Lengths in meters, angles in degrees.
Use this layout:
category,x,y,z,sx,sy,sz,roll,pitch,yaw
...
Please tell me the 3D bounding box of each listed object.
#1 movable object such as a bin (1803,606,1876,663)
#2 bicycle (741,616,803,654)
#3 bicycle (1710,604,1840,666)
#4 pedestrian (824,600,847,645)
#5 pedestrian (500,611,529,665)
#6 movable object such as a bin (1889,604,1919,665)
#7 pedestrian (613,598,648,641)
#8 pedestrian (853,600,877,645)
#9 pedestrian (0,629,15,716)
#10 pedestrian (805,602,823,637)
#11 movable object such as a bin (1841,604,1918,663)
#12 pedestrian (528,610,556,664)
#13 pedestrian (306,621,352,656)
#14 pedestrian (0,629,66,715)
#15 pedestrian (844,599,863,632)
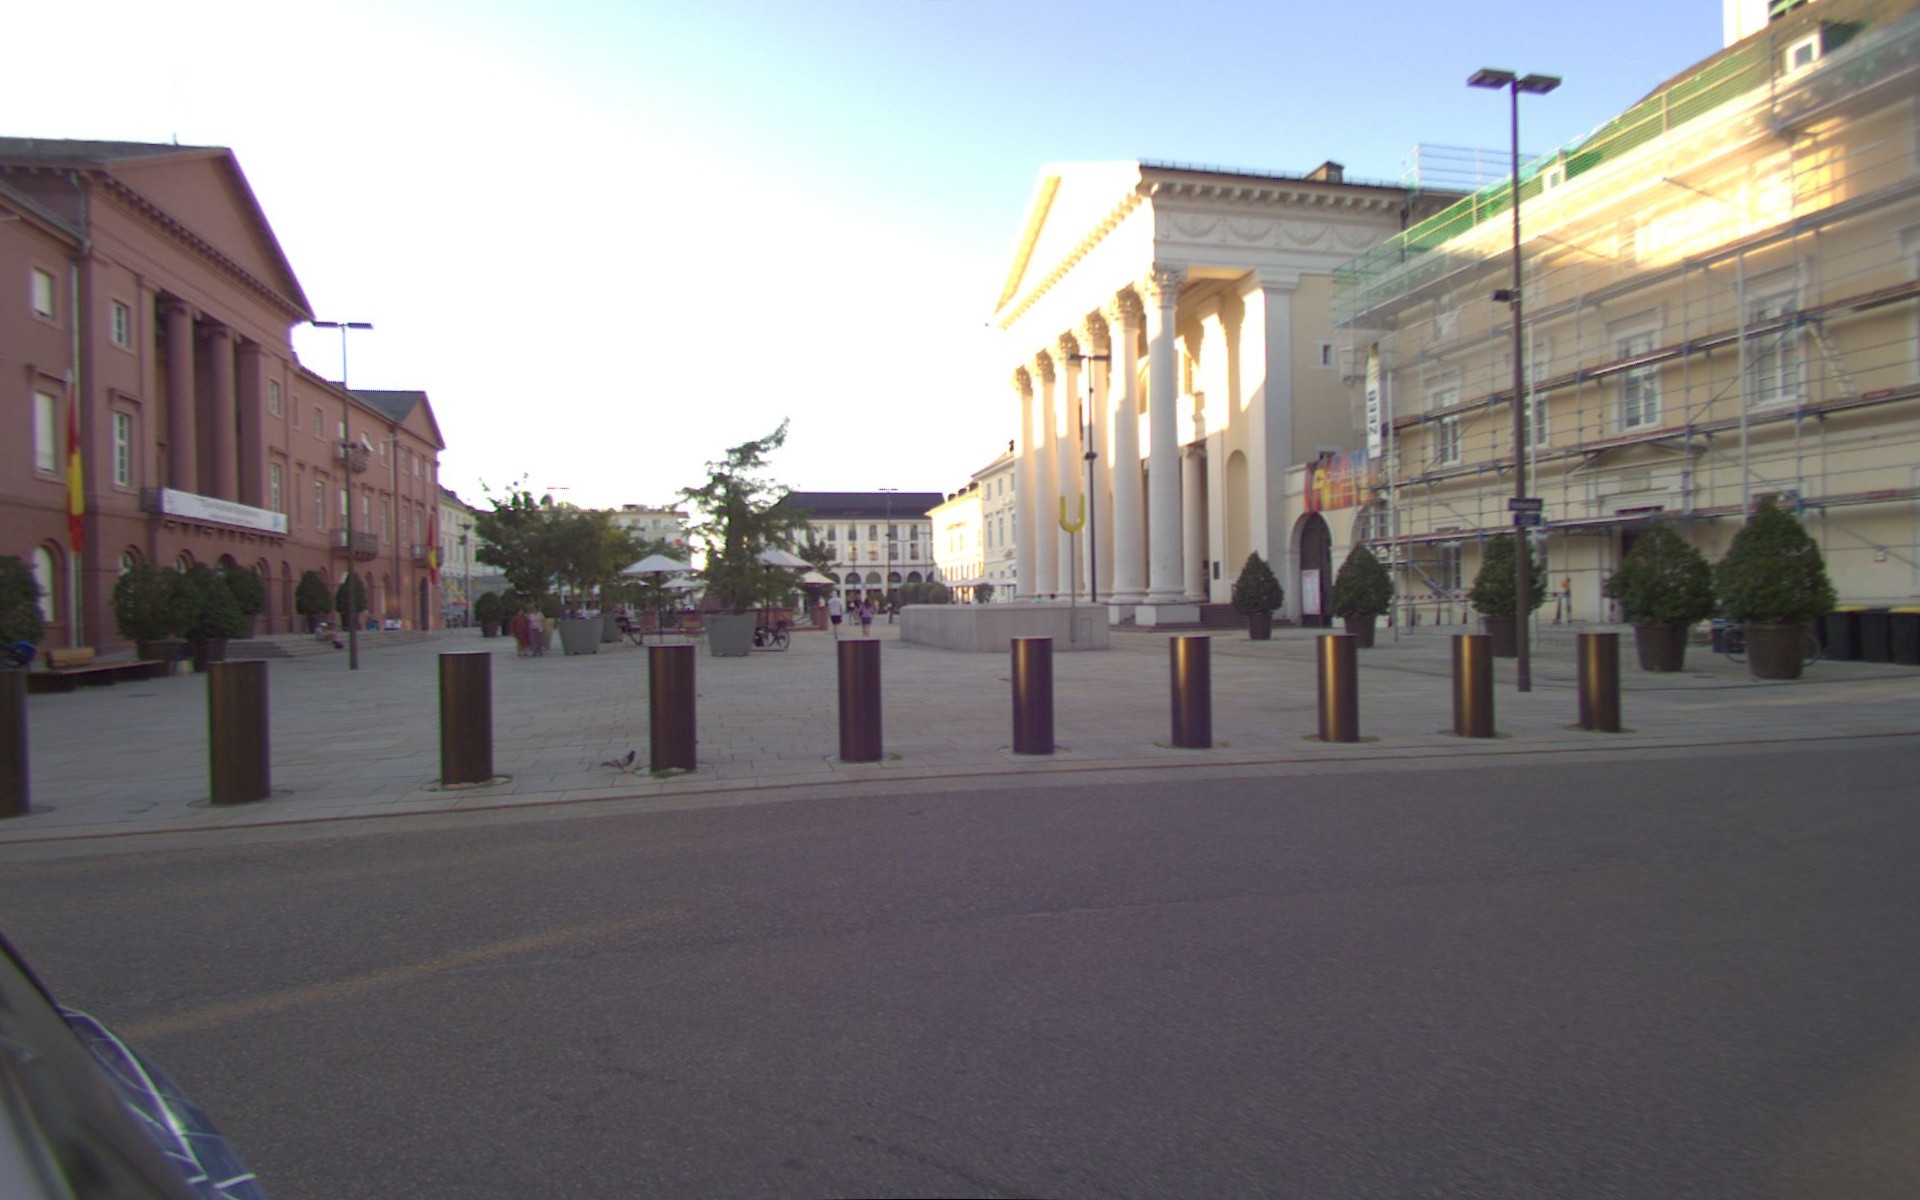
category,x,y,z,sx,sy,sz,roll,pitch,yaw
movable object such as a bin,17.478,0.669,20.124,0.799,1.085,0.723,-1,0,-10
bicycle,-5.799,1.081,31.195,1.676,1.130,0.838,-1,0,22
bicycle,15.820,0.662,19.696,0.623,1.120,1.858,-1,0,-31
pedestrian,-4.937,0.882,40.070,0.843,1.743,0.883,-1,0,-10
pedestrian,-13.326,1.117,30.282,0.672,1.578,0.654,-1,0,-15
movable object such as a bin,17.796,0.626,18.579,0.799,1.085,0.723,-1,0,-10
pedestrian,-17.708,1.027,54.372,1.234,2.252,1.506,-1,0,-45
pedestrian,-3.750,0.887,39.791,0.843,1.743,0.883,-1,0,-10
pedestrian,-16.489,1.225,17.009,0.824,1.458,0.580,-1,0,20
pedestrian,-7.311,0.980,50.713,0.843,1.743,0.883,-1,0,-10
movable object such as a bin,17.591,0.636,19.378,0.799,1.085,0.723,-1,0,-10
pedestrian,-12.586,1.102,30.459,0.672,1.570,0.654,-1,0,-15
pedestrian,-24.697,1.485,39.632,1.380,1.271,1.331,-1,0,-26
pedestrian,-16.204,1.244,17.654,0.824,1.458,0.581,-1,0,18
pedestrian,-6.515,0.946,61.888,1.075,1.925,0.883,-1,0,-10
